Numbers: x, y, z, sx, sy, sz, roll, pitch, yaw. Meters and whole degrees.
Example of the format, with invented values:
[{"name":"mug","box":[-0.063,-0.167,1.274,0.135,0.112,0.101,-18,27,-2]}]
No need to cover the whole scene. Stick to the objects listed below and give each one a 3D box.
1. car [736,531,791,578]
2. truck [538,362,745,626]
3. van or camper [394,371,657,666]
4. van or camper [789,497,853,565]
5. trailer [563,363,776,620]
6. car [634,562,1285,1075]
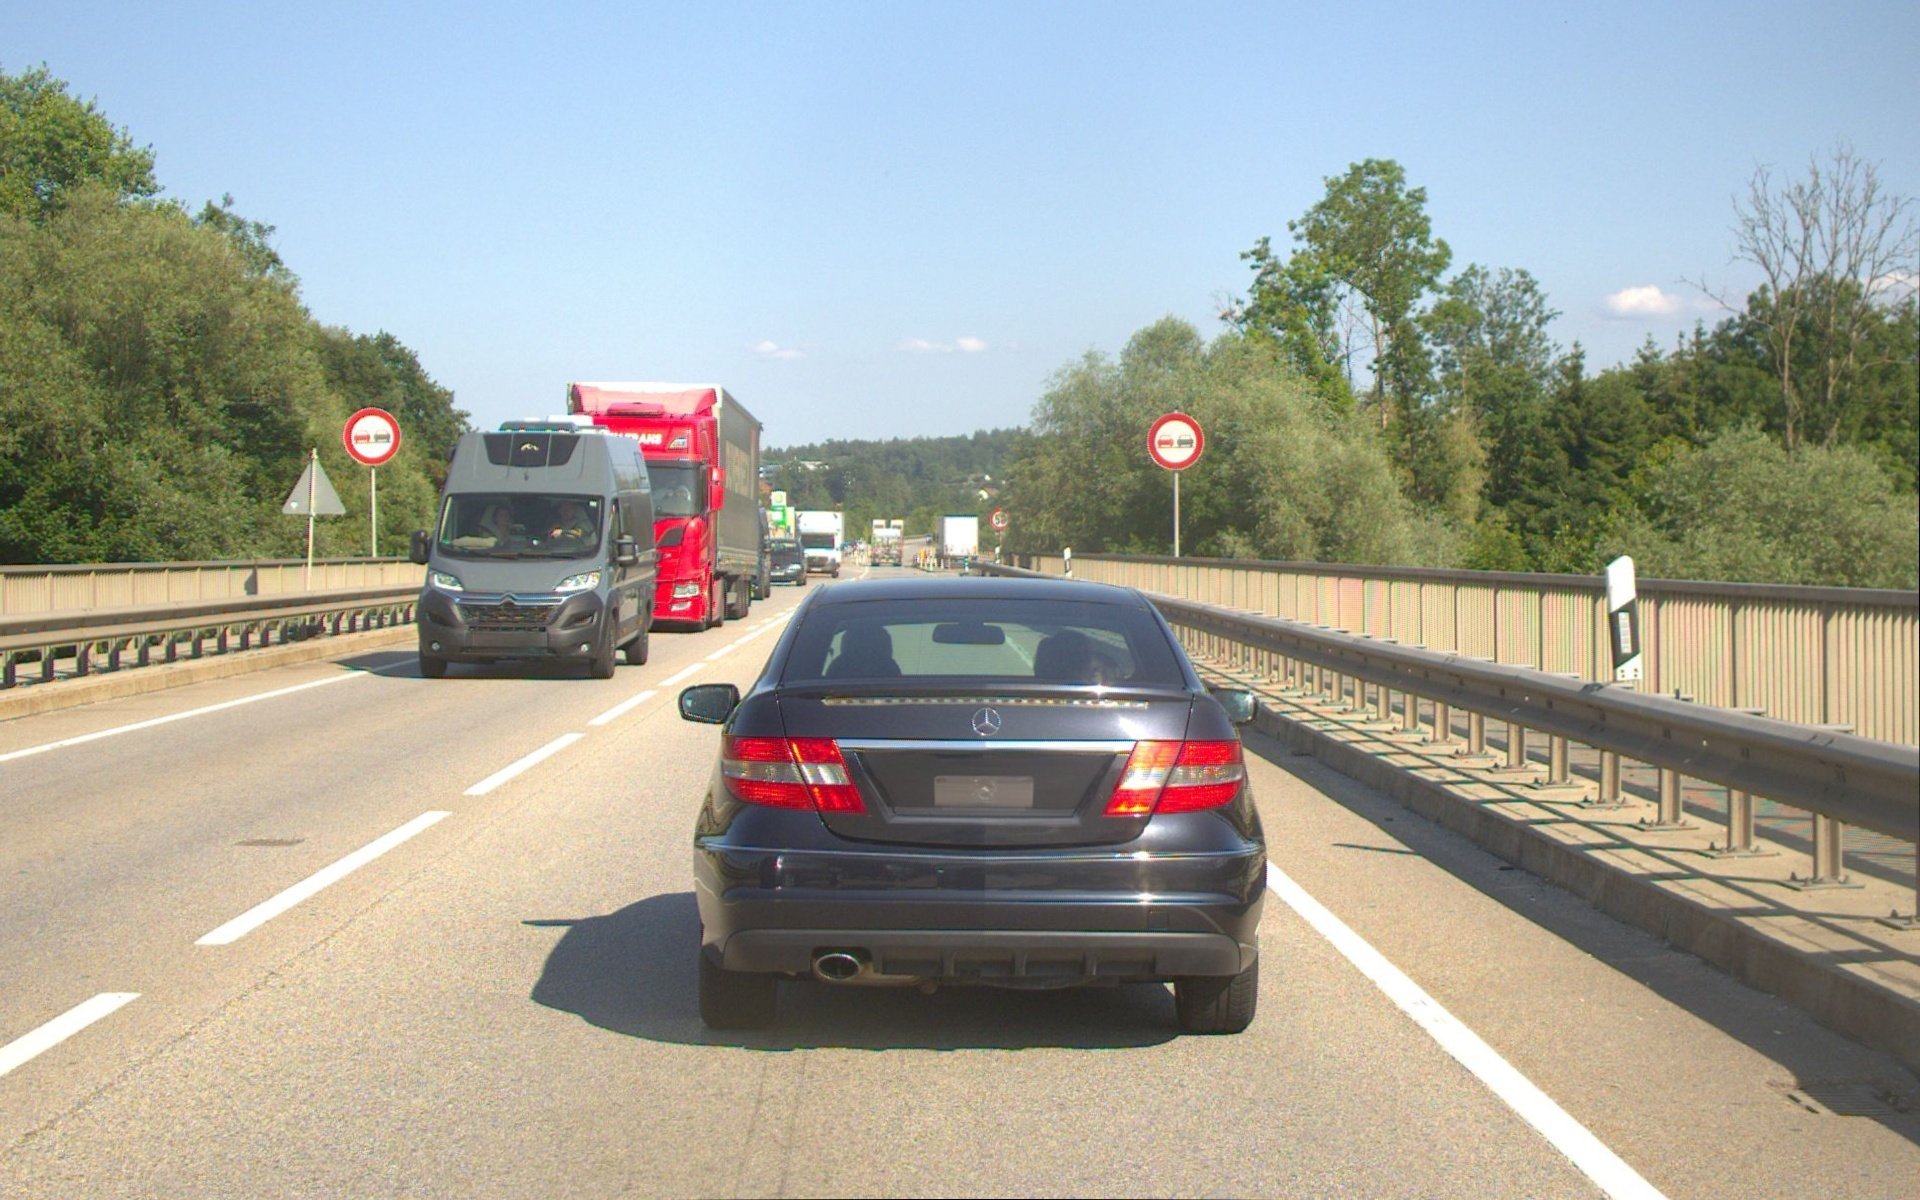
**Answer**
[{"name":"car","box":[-7.031,-1.642,122.751,1.841,1.636,4.578,1,1,-5]},{"name":"truck","box":[-5.254,-1.737,57.604,2.908,4.170,5.713,1,1,0]},{"name":"van or camper","box":[-4.829,-0.921,39.272,2.315,3.040,6.818,1,1,-2]},{"name":"van or camper","box":[-6.844,-3.420,170.013,2.635,3.244,7.749,1,1,1]},{"name":"trailer","box":[-5.272,-1.959,65.044,2.907,4.287,14.303,1,1,-1]},{"name":"car","box":[0.007,0.583,11.502,1.793,1.371,4.000,0,1,0]}]
